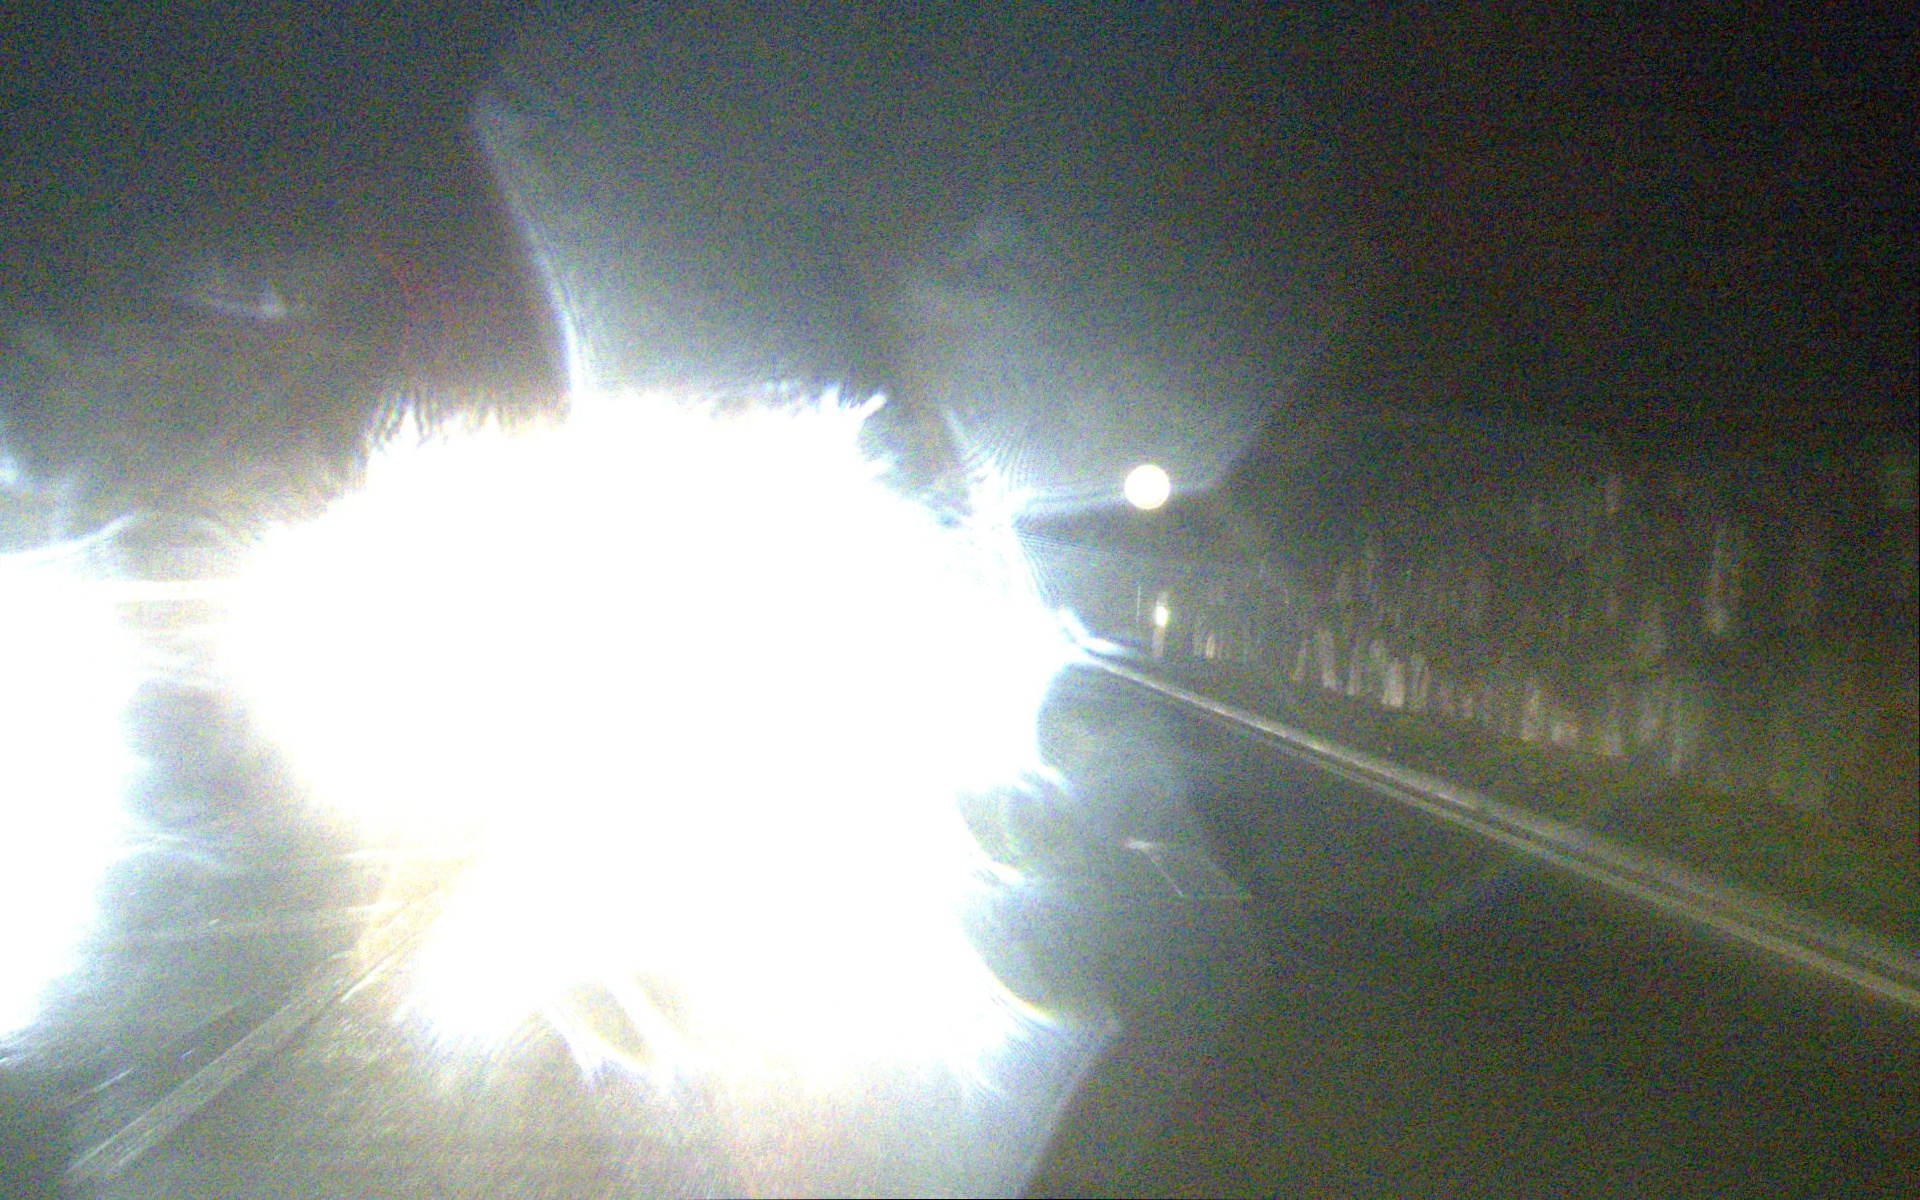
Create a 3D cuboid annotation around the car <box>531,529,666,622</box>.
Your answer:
[{"bbox_3d":[-7.546,-0.545,72.272,1.994,1.858,5.319,1,1,3],"label":"car"}]

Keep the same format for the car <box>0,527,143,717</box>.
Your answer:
[{"bbox_3d":[-8.880,0.139,29.632,2.182,1.553,5.203,1,1,3],"label":"car"}]

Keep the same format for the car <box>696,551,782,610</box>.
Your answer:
[{"bbox_3d":[-6.226,-0.577,97.375,2.110,1.570,4.680,1,1,0],"label":"car"}]

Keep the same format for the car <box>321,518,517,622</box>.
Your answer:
[{"bbox_3d":[-8.471,-0.498,54.261,2.083,1.537,4.898,1,1,3],"label":"car"}]
